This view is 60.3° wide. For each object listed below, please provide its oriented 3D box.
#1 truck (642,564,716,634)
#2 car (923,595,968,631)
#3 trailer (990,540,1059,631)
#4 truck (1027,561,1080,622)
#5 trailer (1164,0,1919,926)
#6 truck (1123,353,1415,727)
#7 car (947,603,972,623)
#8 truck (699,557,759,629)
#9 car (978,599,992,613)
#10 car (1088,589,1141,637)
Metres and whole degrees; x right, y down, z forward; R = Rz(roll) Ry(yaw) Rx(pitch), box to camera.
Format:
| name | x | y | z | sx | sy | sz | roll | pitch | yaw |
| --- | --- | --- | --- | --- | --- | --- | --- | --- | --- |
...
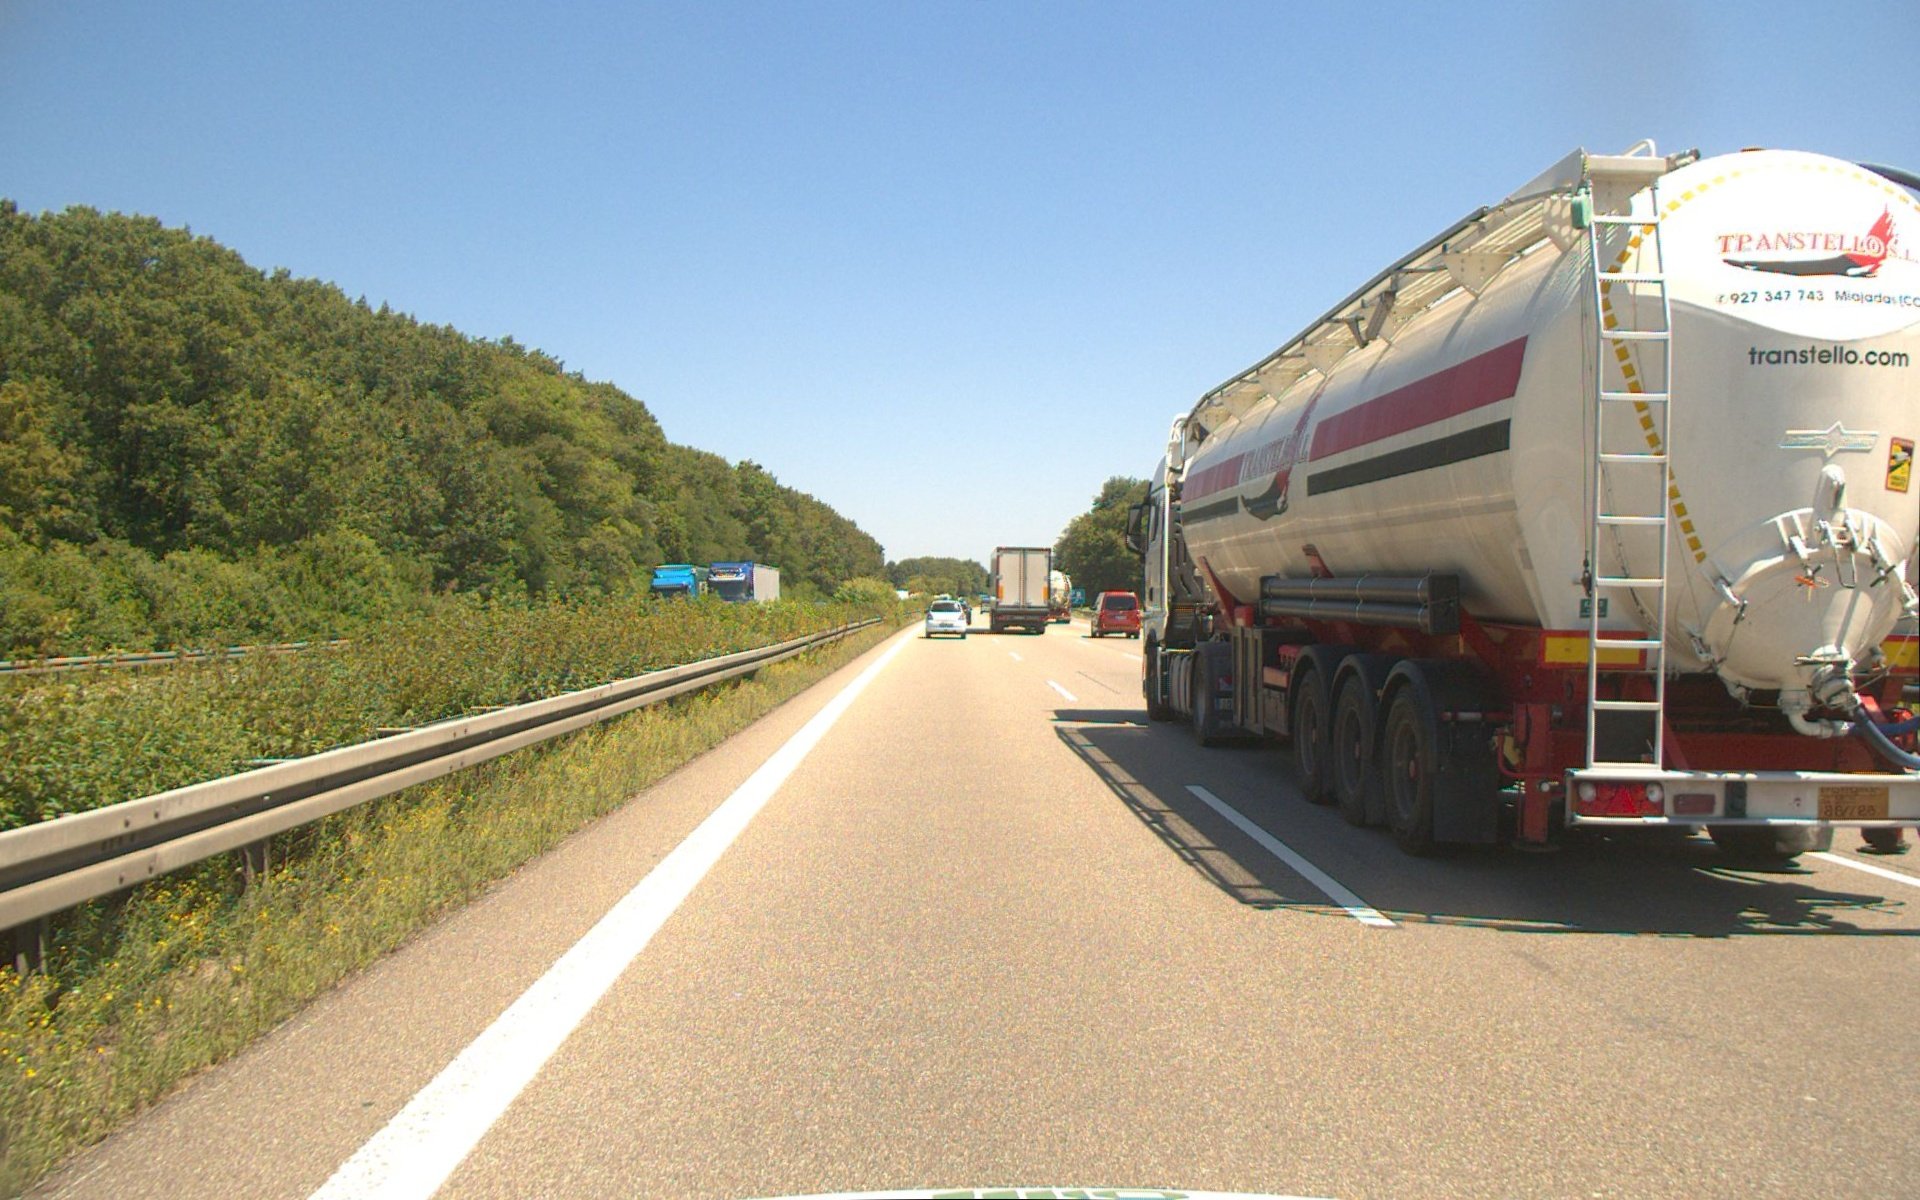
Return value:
| name | x | y | z | sx | sy | sz | roll | pitch | yaw |
| --- | --- | --- | --- | --- | --- | --- | --- | --- | --- |
| truck | -17.583 | -0.060 | 104.156 | 2.952 | 4.186 | 9.999 | 0 | 0 | 0 |
| car | -0.626 | 0.512 | 68.087 | 1.775 | 1.429 | 3.316 | 0 | 0 | -2 |
| trailer | 3.150 | -0.690 | 82.954 | 3.157 | 4.216 | 12.353 | 0 | 0 | 1 |
| truck | 7.006 | -0.645 | 126.083 | 3.158 | 4.421 | 10.803 | 0 | 0 | -1 |
| trailer | 3.970 | -0.693 | 13.638 | 2.734 | 4.278 | 12.349 | 0 | 0 | -1 |
| truck | 3.792 | -0.696 | 21.473 | 2.734 | 4.278 | 4.998 | 0 | 0 | -2 |
| car | -0.039 | 0.856 | 109.410 | 1.634 | 1.312 | 3.999 | 0 | 0 | -1 |
| truck | -13.355 | -0.417 | 95.937 | 2.811 | 4.079 | 4.999 | 0 | 0 | 0 |
| car | 3.105 | 0.740 | 204.493 | 1.634 | 1.796 | 3.999 | 0 | 0 | -1 |
| car | 6.916 | 0.553 | 74.525 | 1.818 | 2.038 | 5.521 | 1 | 0 | 0 |
